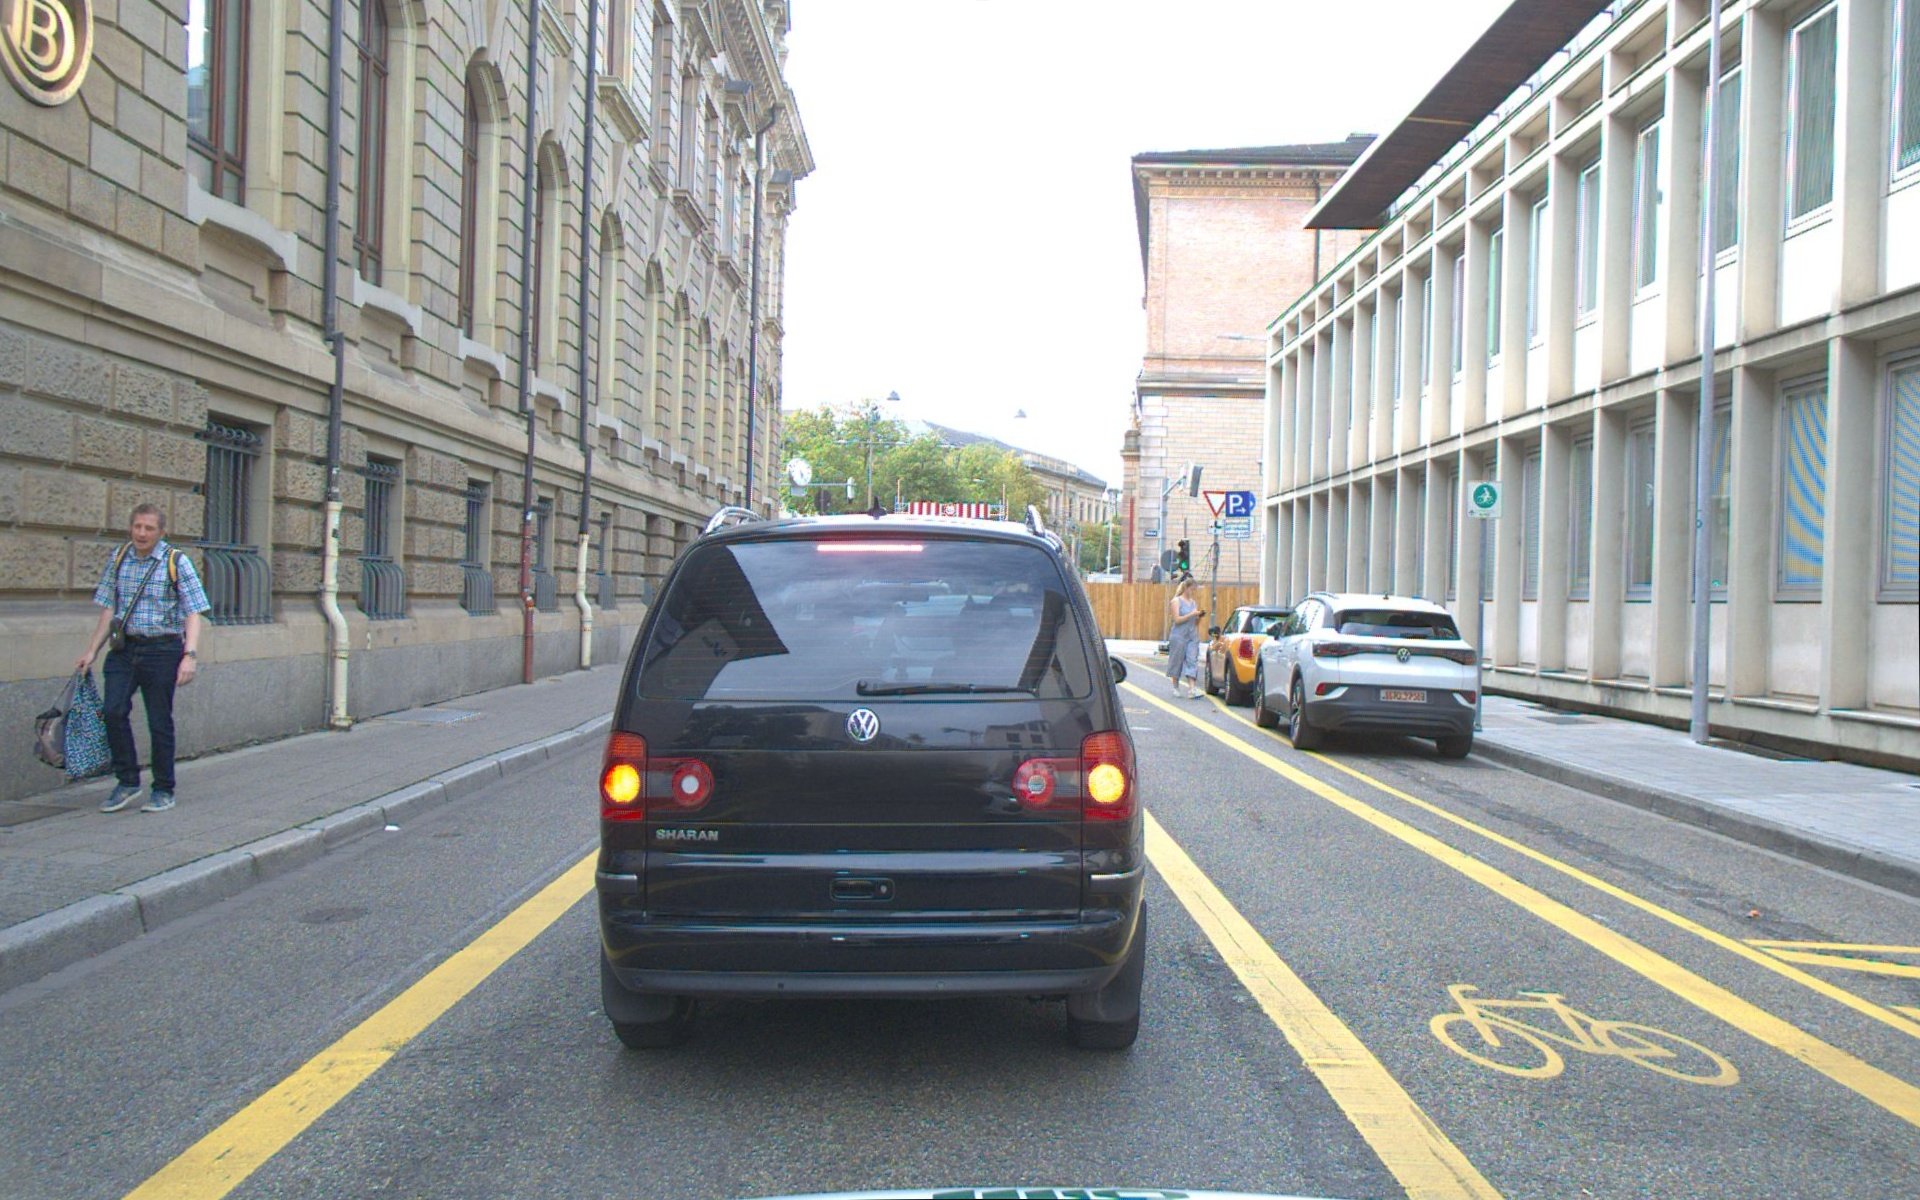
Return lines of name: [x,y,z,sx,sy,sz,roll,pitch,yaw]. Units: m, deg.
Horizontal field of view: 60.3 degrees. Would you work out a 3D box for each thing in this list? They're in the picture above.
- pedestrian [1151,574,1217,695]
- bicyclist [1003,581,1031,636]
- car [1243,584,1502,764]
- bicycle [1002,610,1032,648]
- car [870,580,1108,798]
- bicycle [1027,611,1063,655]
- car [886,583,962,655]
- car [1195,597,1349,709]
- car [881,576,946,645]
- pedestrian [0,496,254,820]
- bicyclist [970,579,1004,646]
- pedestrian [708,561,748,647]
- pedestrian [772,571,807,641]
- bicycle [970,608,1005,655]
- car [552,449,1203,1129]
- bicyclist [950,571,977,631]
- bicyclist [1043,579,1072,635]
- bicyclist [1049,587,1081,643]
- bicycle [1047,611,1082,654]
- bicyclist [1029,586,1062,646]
pedestrian: [3.399,0.518,25.144,0.698,1.794,0.691,1,-1,-35]
bicyclist: [1.570,0.224,45.754,0.720,1.495,0.808,1,0,-1]
car: [4.456,0.737,18.580,1.822,1.633,4.513,4,0,2]
bicycle: [1.557,0.788,45.564,0.720,1.026,2.068,1,0,-1]
car: [0.276,0.635,13.723,1.643,1.495,4.104,2,0,2]
bicycle: [2.049,0.782,39.897,0.720,1.026,2.068,1,0,-1]
car: [-0.869,0.448,40.249,1.737,1.613,3.999,1,0,-1]
car: [4.663,0.753,25.206,1.645,1.459,3.887,4,0,2]
car: [-1.369,0.293,47.246,1.700,1.821,4.100,2,0,-4]
pedestrian: [-4.837,0.324,9.629,1.005,1.750,0.818,3,-1,-1]
bicyclist: [0.620,0.288,37.779,0.720,1.504,0.884,1,0,-1]
pedestrian: [-5.128,0.083,36.598,0.650,1.851,1.048,3,-1,-1]
pedestrian: [-4.660,0.162,45.281,0.776,1.851,1.048,3,-1,-1]
bicycle: [0.611,0.707,37.850,0.720,1.026,2.068,1,0,-1]
car: [-0.159,0.522,6.611,1.752,1.821,4.104,1,0,2]
bicyclist: [0.091,0.032,46.014,0.720,1.640,0.695,1,-1,-1]
bicyclist: [2.789,0.205,47.349,0.720,1.582,0.895,1,0,-1]
bicyclist: [2.660,0.390,42.047,0.720,1.399,0.831,1,0,-1]
bicycle: [2.650,0.812,42.060,0.720,1.026,2.068,1,0,-1]
bicyclist: [2.055,0.384,39.975,0.720,1.401,0.828,1,0,-1]
